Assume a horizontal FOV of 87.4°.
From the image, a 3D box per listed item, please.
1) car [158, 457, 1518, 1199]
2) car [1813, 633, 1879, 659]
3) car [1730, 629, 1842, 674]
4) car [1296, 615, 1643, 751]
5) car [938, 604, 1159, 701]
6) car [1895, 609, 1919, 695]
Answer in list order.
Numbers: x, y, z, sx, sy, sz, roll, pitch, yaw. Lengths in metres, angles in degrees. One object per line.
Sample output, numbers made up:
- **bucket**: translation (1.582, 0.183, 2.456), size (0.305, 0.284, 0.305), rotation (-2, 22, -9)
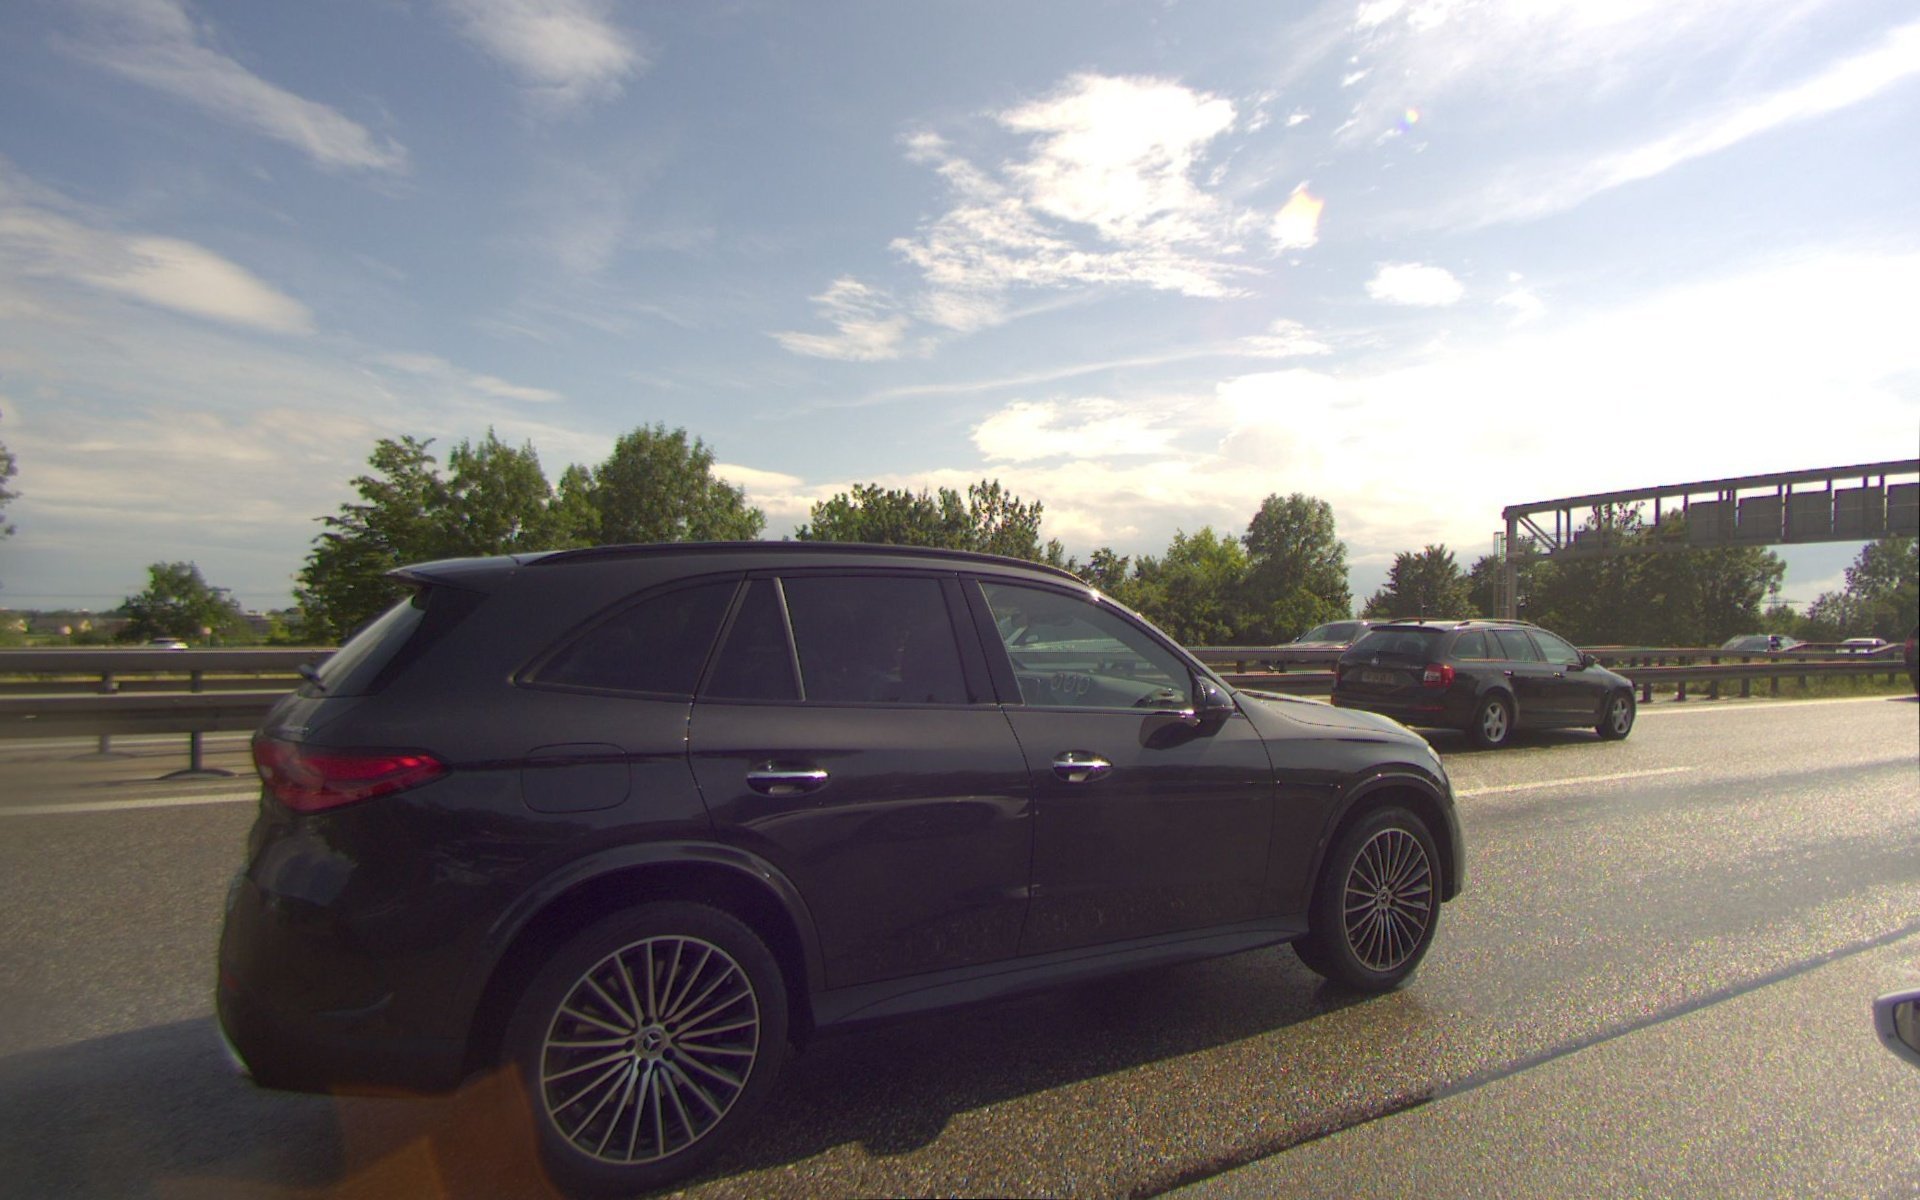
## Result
- **car**: translation (-0.051, 0.620, 3.946), size (4.572, 1.701, 1.867), rotation (1, -1, -30)
- **car**: translation (49.277, 2.556, 55.840), size (3.634, 1.350, 1.695), rotation (1, -1, -30)
- **car**: translation (28.754, 1.772, 34.940), size (3.953, 1.461, 1.767), rotation (1, -1, -30)
- **car**: translation (6.523, 0.959, 12.769), size (4.321, 1.444, 1.911), rotation (2, -1, -30)
- **car**: translation (2.113, 1.175, 23.491), size (4.893, 2.040, 1.984), rotation (1, -1, -30)
- **car**: translation (23.374, 1.181, 22.618), size (5.351, 1.868, 1.799), rotation (1, 0, -29)
